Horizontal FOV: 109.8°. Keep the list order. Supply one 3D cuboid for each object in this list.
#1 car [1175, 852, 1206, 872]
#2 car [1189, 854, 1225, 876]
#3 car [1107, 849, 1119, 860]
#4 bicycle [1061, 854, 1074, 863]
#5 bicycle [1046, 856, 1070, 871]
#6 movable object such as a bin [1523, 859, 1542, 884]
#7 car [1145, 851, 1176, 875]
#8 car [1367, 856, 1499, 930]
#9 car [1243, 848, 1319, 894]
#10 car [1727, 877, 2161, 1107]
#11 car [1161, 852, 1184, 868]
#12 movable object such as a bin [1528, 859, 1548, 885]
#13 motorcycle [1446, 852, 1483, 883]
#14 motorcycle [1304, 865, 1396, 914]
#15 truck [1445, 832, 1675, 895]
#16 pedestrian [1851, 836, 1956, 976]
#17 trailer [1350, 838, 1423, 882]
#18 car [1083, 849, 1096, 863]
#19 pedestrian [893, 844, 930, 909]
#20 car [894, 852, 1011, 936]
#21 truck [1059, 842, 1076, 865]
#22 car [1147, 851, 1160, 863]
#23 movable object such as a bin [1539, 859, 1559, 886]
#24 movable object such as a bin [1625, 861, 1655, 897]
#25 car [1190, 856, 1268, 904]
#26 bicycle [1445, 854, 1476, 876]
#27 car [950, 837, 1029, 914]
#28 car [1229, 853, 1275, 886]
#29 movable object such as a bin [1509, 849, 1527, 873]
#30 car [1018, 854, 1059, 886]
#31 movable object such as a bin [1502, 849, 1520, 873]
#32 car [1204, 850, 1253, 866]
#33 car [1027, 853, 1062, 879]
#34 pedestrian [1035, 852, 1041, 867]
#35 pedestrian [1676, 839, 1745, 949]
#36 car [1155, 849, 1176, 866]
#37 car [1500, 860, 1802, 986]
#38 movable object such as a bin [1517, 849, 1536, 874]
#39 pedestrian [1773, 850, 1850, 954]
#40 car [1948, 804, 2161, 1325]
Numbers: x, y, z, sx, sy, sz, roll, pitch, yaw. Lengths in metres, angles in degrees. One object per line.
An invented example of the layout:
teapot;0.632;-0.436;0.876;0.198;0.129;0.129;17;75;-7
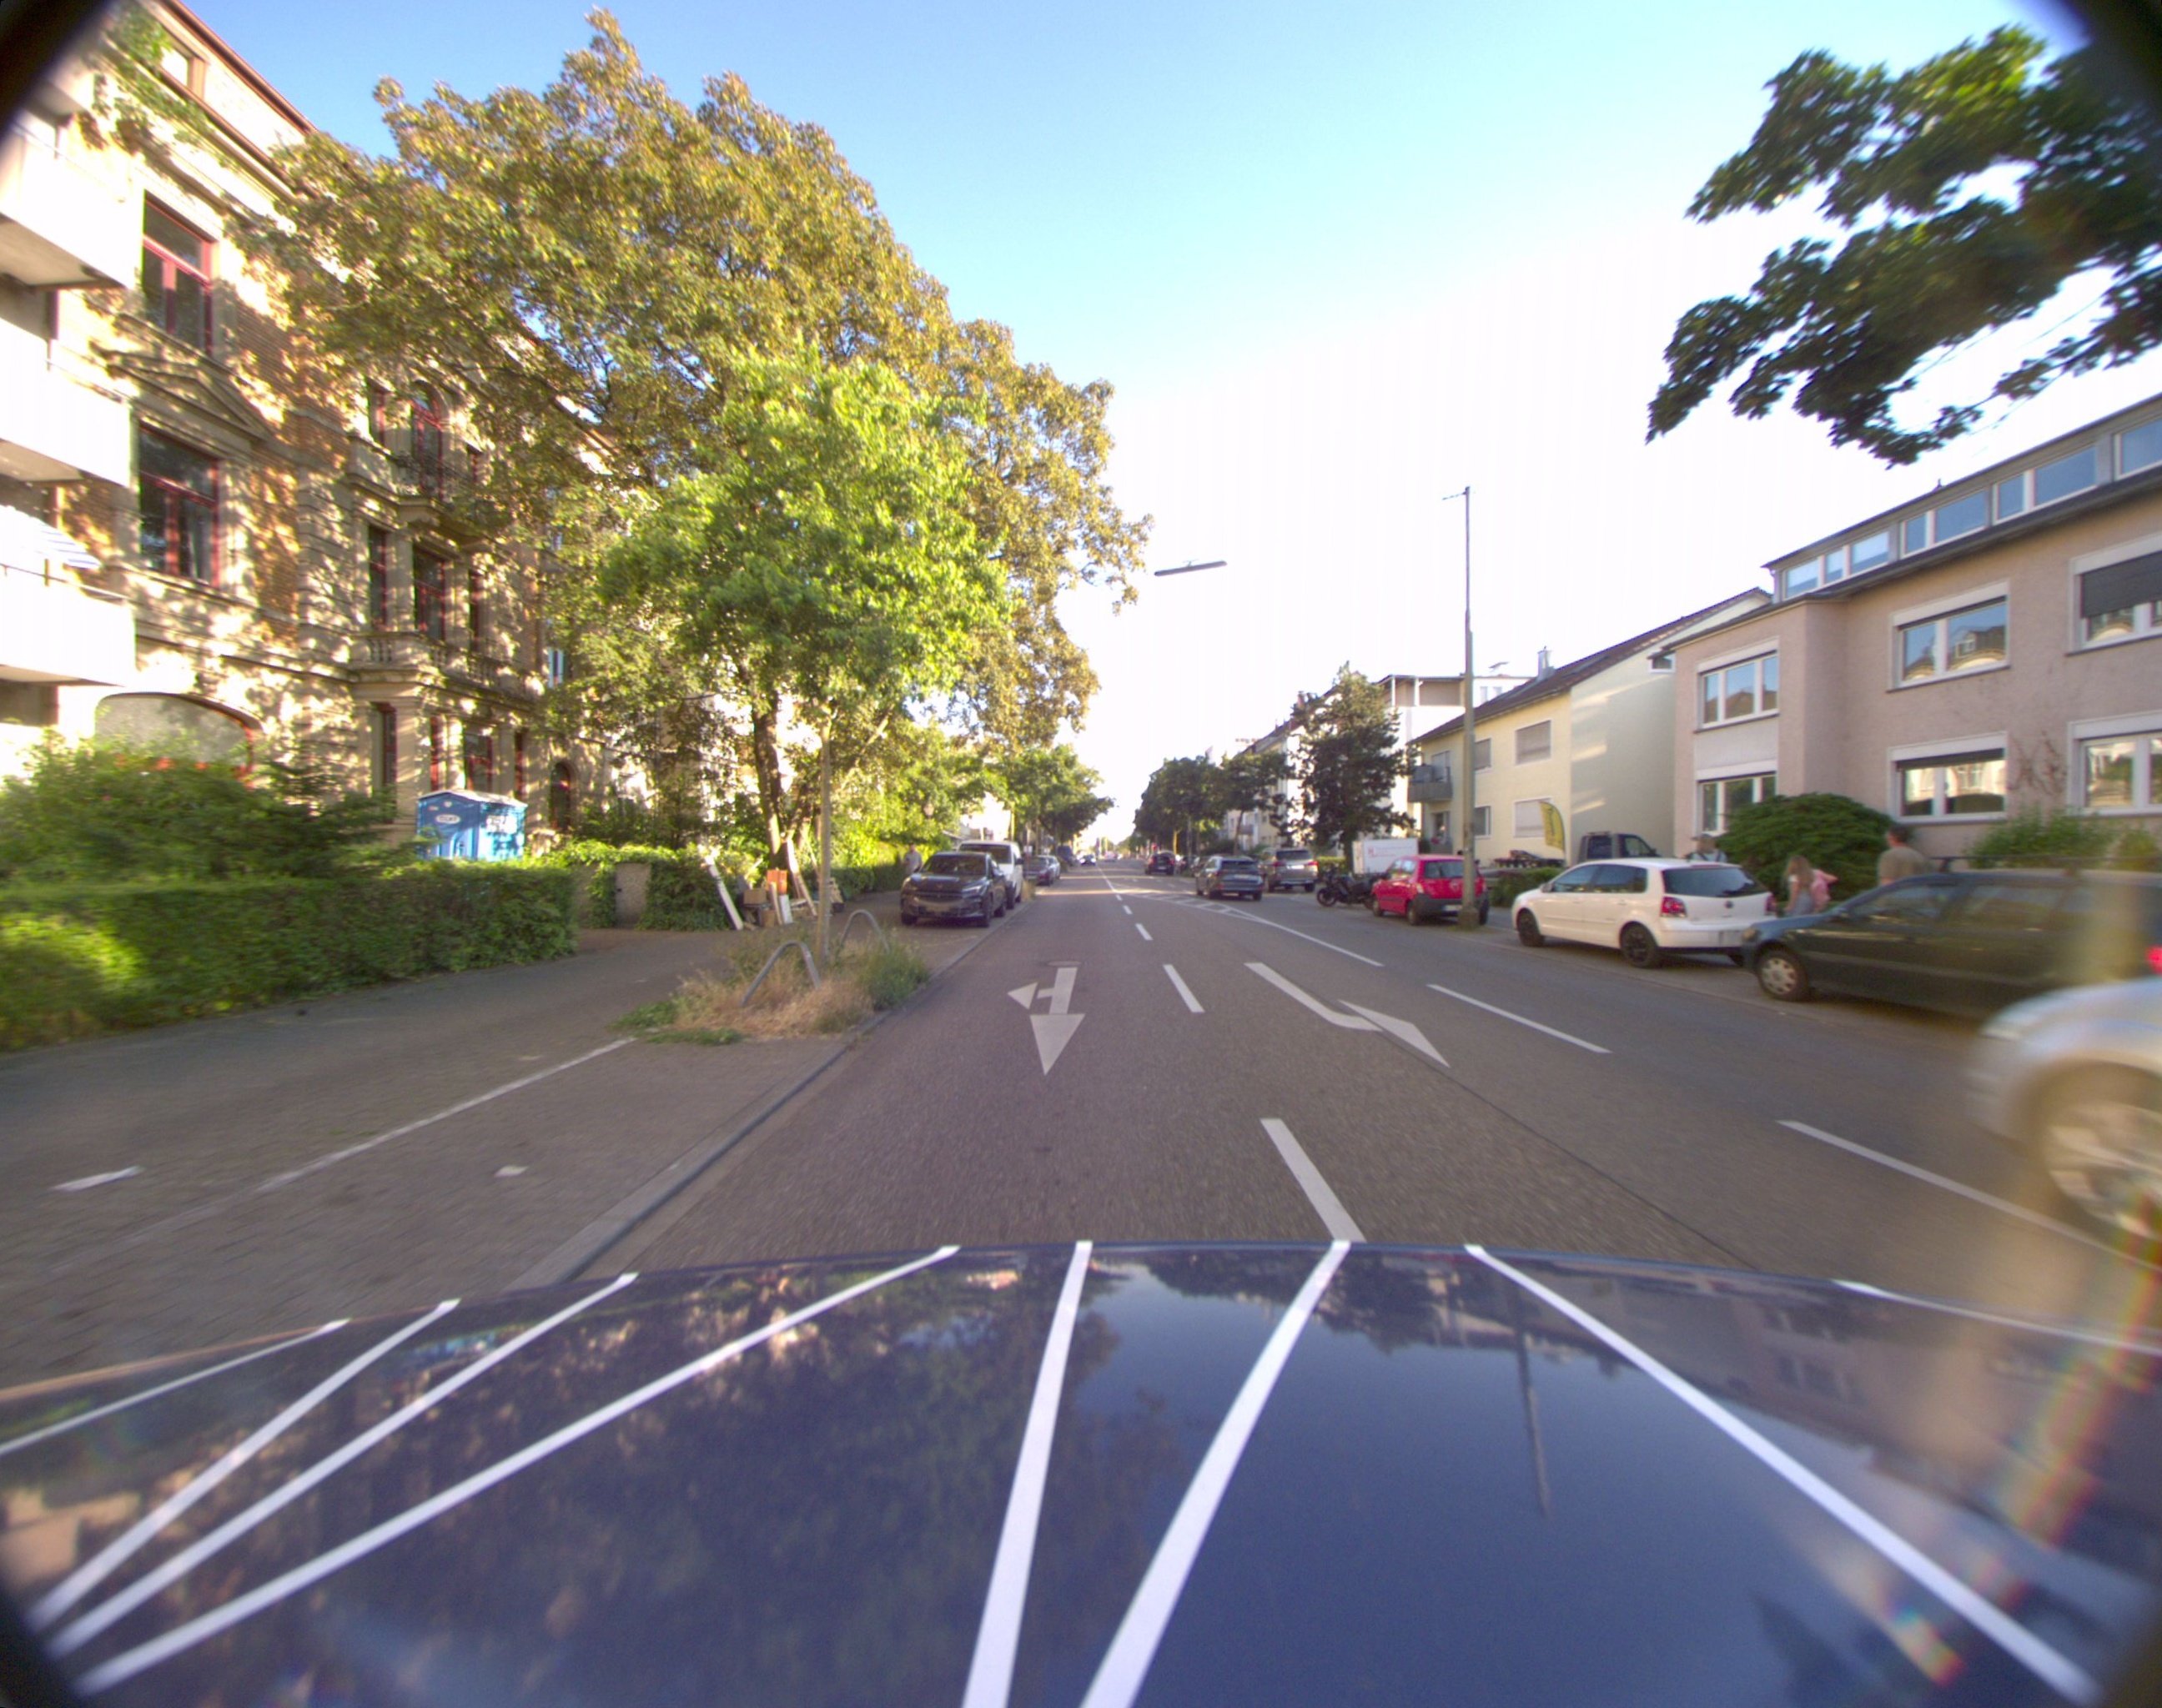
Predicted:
car;8.709;0.619;60.772;1.862;1.477;3.999;0;0;0
car;8.239;0.696;49.979;1.641;1.399;4.444;0;0;0
car;5.811;0.087;137.567;1.893;1.793;4.430;2;0;-1
bicycle;-1.570;0.532;89.586;1.469;1.058;0.445;0;1;1
bicycle;-1.939;0.808;62.971;1.894;1.155;0.616;2;1;28
movable object such as a bin;18.323;0.700;30.860;0.504;1.013;0.450;0;1;0
car;5.759;0.641;55.322;1.840;1.561;3.999;2;1;0
car;7.918;0.809;17.406;1.596;1.514;3.437;0;0;3
car;8.230;0.640;31.681;1.892;1.769;4.725;0;0;-1
car;7.939;0.965;6.612;1.547;1.388;3.666;0;0;1
car;8.826;0.564;73.520;1.740;1.455;3.636;0;0;1
movable object such as a bin;18.273;0.716;30.368;0.504;1.013;0.450;0;1;0
motorcycle;17.268;0.576;34.263;0.572;1.366;2.258;0;0;0
motorcycle;7.610;0.979;21.631;1.184;1.259;2.365;0;1;-23
truck;17.281;0.332;27.696;6.912;2.172;2.276;0;1;1
pedestrian;10.768;0.660;9.966;0.715;1.782;0.572;0;1;3
trailer;14.291;0.266;35.664;2.780;2.002;1.552;0;1;-2
car;1.102;0.244;99.075;1.596;1.696;4.000;0;0;0
pedestrian;-4.743;0.610;21.290;0.823;1.763;1.089;0;1;-3
car;-2.759;0.794;17.296;1.860;1.594;4.311;2;0;0
truck;-1.631;-0.065;93.165;1.998;2.629;5.615;0;0;1
car;8.646;0.389;90.739;1.407;1.397;3.683;0;0;2
movable object such as a bin;18.308;0.718;29.720;0.504;1.013;0.450;0;1;0
movable object such as a bin;17.358;0.778;23.612;0.490;1.084;0.586;0;1;1
car;5.077;0.836;26.602;1.765;1.443;4.533;2;0;0
bicycle;18.712;0.527;37.510;0.520;1.057;2.046;0;0;0
car;-2.677;0.582;23.194;1.908;2.091;4.640;0;0;-1
car;8.348;0.726;37.277;1.577;1.546;2.749;0;0;-1
movable object such as a bin;18.366;0.300;31.926;0.504;1.013;0.450;0;1;0
car;-2.083;0.751;38.363;1.761;1.412;4.614;2;0;0
movable object such as a bin;18.362;0.297;32.450;0.504;1.013;0.450;0;1;0
car;15.270;0.409;78.721;4.563;1.397;1.739;-2;1;-9
car;-2.172;0.694;46.729;1.825;1.469;4.621;0;0;1
pedestrian;-4.883;0.624;86.695;0.619;1.761;0.562;0;0;1
pedestrian;10.448;0.651;12.627;0.715;1.782;0.506;0;1;3
car;8.926;0.361;80.461;1.740;1.799;4.191;0;0;1
car;8.172;0.879;11.409;1.597;1.514;3.890;0;0;0
movable object such as a bin;18.389;0.299;31.343;0.504;1.013;0.450;0;1;0
pedestrian;10.715;0.690;11.164;0.591;1.487;0.542;0;1;3
car;4.632;0.756;0.872;1.810;1.794;4.745;1;0;0
